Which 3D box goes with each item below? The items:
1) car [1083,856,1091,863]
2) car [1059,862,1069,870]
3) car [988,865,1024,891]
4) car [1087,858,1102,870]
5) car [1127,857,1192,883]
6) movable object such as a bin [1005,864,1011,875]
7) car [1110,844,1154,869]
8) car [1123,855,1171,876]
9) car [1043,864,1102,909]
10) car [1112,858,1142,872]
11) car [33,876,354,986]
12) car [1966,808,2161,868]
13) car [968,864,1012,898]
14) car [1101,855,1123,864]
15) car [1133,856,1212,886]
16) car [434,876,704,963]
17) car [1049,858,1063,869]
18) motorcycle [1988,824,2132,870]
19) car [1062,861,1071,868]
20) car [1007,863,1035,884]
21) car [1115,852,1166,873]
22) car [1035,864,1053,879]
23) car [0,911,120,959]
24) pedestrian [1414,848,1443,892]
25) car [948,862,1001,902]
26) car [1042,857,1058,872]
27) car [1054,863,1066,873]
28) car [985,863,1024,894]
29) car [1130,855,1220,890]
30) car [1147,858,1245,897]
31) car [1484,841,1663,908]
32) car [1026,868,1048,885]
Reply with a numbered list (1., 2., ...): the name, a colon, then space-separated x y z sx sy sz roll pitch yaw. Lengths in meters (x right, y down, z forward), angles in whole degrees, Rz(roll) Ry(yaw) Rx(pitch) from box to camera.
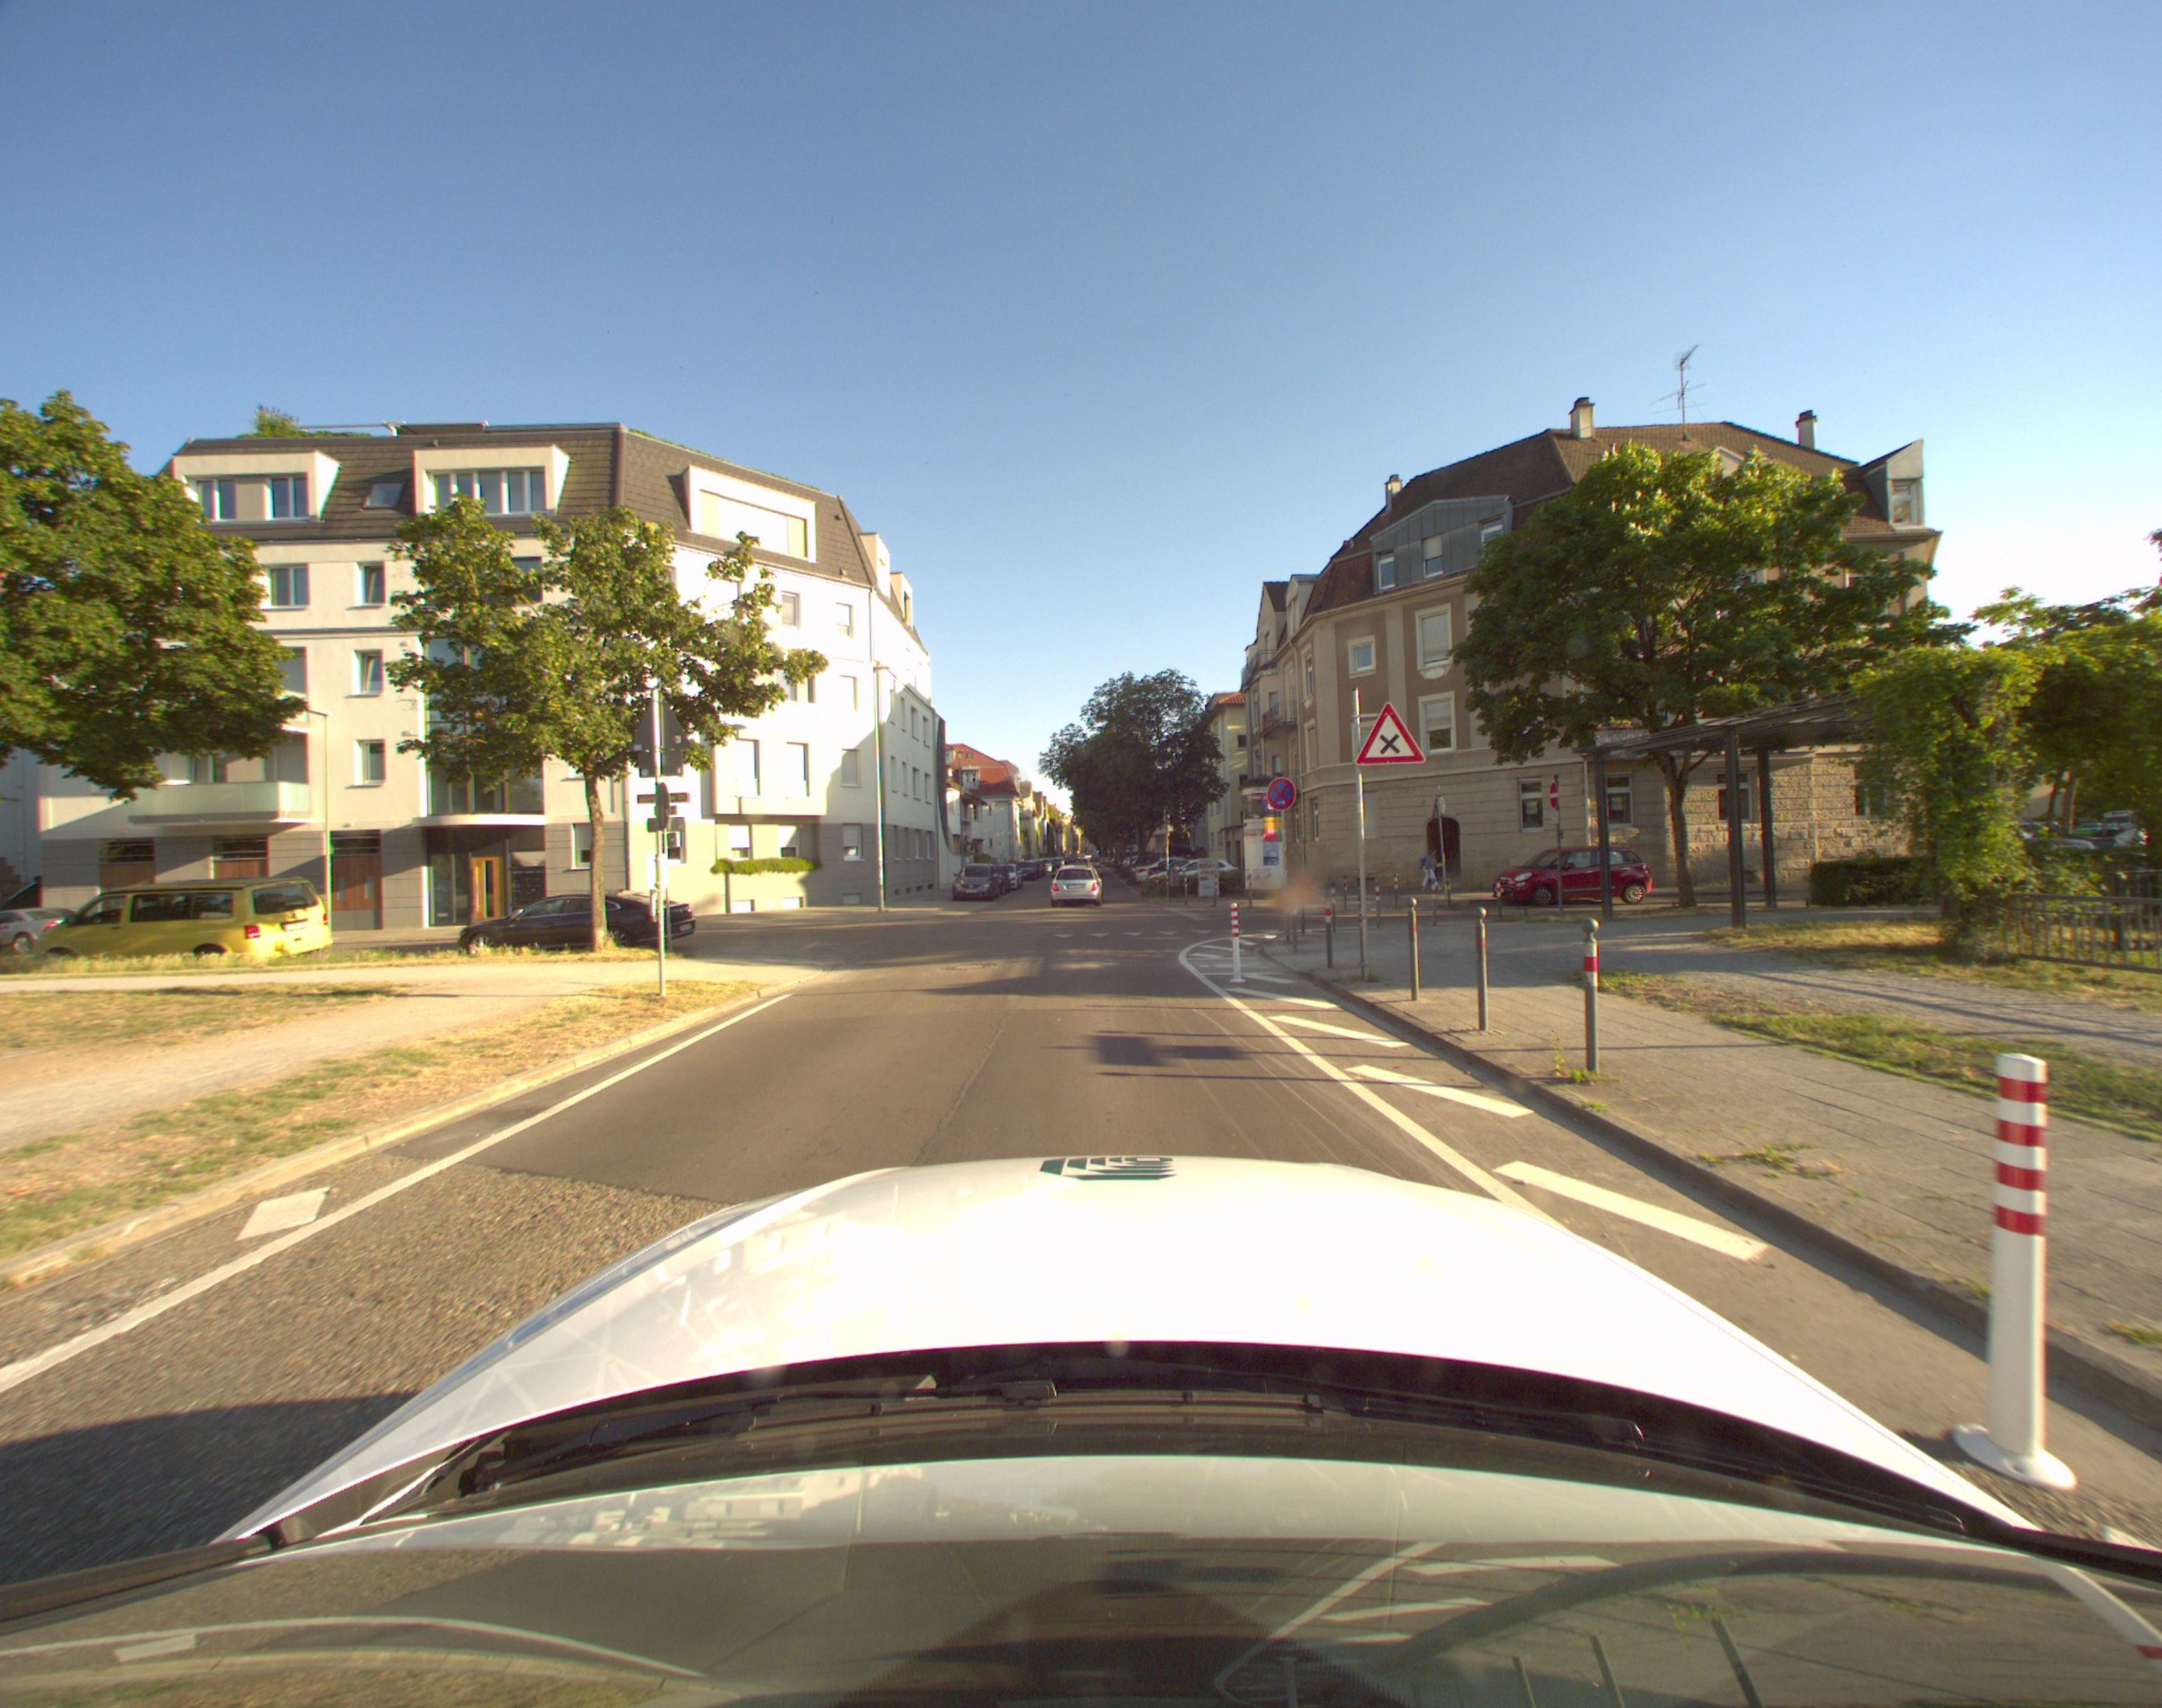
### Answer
1. car: 1.487 1.362 193.407 1.522 1.474 4.274 -1 -2 3
2. car: -3.293 2.258 156.512 1.793 1.387 3.606 -1 0 1
3. car: -4.602 1.440 50.301 1.752 1.447 4.143 -1 -1 1
4. car: 1.823 1.358 109.461 1.809 1.473 4.220 -2 -1 3
5. car: 5.279 1.081 55.263 4.178 1.558 1.873 -2 -1 -1
6. movable object such as a bin: -7.909 1.683 88.076 0.526 1.107 0.589 -1 -2 0
7. car: 6.687 0.318 106.684 5.528 2.968 2.470 -2 0 -2
8. car: 5.408 0.968 67.110 3.719 1.558 1.725 -2 -1 -1
9. car: -0.234 1.133 29.430 1.809 1.473 4.220 -2 -1 3
10. car: 5.856 1.362 103.585 3.585 1.659 1.649 -2 0 -2
11. car: -19.465 1.637 18.061 4.664 2.013 2.033 -2 3 -1
12. car: 28.279 -0.458 23.211 4.059 1.533 1.813 -2 0 2
13. car: -4.598 1.316 41.578 1.879 1.591 4.087 -2 0 -2
14. car: 5.679 0.968 149.555 3.830 1.482 1.805 -2 0 1
15. car: 5.508 1.015 49.303 4.513 1.641 1.873 -2 -1 -1
16. car: -11.200 1.410 18.036 4.806 1.669 1.789 -2 -1 1
17. car: -3.520 1.277 116.652 1.793 1.482 3.857 -1 0 1
18. motorcycle: 34.392 -0.211 28.718 0.851 1.487 3.218 -1 -2 -10
19. car: -2.917 2.234 167.761 1.793 1.387 3.606 -1 0 1
20. car: -4.552 1.490 62.318 1.849 1.498 4.651 -1 -1 -2
21. car: 5.508 0.811 75.633 4.610 1.836 1.954 -1 0 0
22. car: -3.995 1.878 89.013 1.653 1.499 3.754 -1 -1 1
23. car: -30.972 2.374 23.776 3.711 1.240 1.624 -2 -2 -4
24. pedestrian: 12.625 0.567 29.581 0.811 1.545 0.747 -2 1 32
25. car: -4.626 1.198 35.941 1.879 1.591 4.087 -2 0 -2
26. car: -3.720 1.233 98.361 1.793 1.644 3.857 -1 0 1
27. car: -3.344 2.239 132.905 1.793 1.482 3.857 -1 0 1
28. car: -4.277 1.347 45.841 1.879 1.591 4.087 -2 0 -2
29. car: 5.029 0.974 43.766 4.470 1.525 1.950 -3 1 -6
30. car: 5.064 1.031 36.253 4.036 1.505 1.861 -2 -1 -1
31. car: 14.142 0.562 23.556 4.059 1.740 1.813 -2 1 2
32. car: -3.990 2.039 74.159 1.653 1.488 3.754 -1 -1 1
